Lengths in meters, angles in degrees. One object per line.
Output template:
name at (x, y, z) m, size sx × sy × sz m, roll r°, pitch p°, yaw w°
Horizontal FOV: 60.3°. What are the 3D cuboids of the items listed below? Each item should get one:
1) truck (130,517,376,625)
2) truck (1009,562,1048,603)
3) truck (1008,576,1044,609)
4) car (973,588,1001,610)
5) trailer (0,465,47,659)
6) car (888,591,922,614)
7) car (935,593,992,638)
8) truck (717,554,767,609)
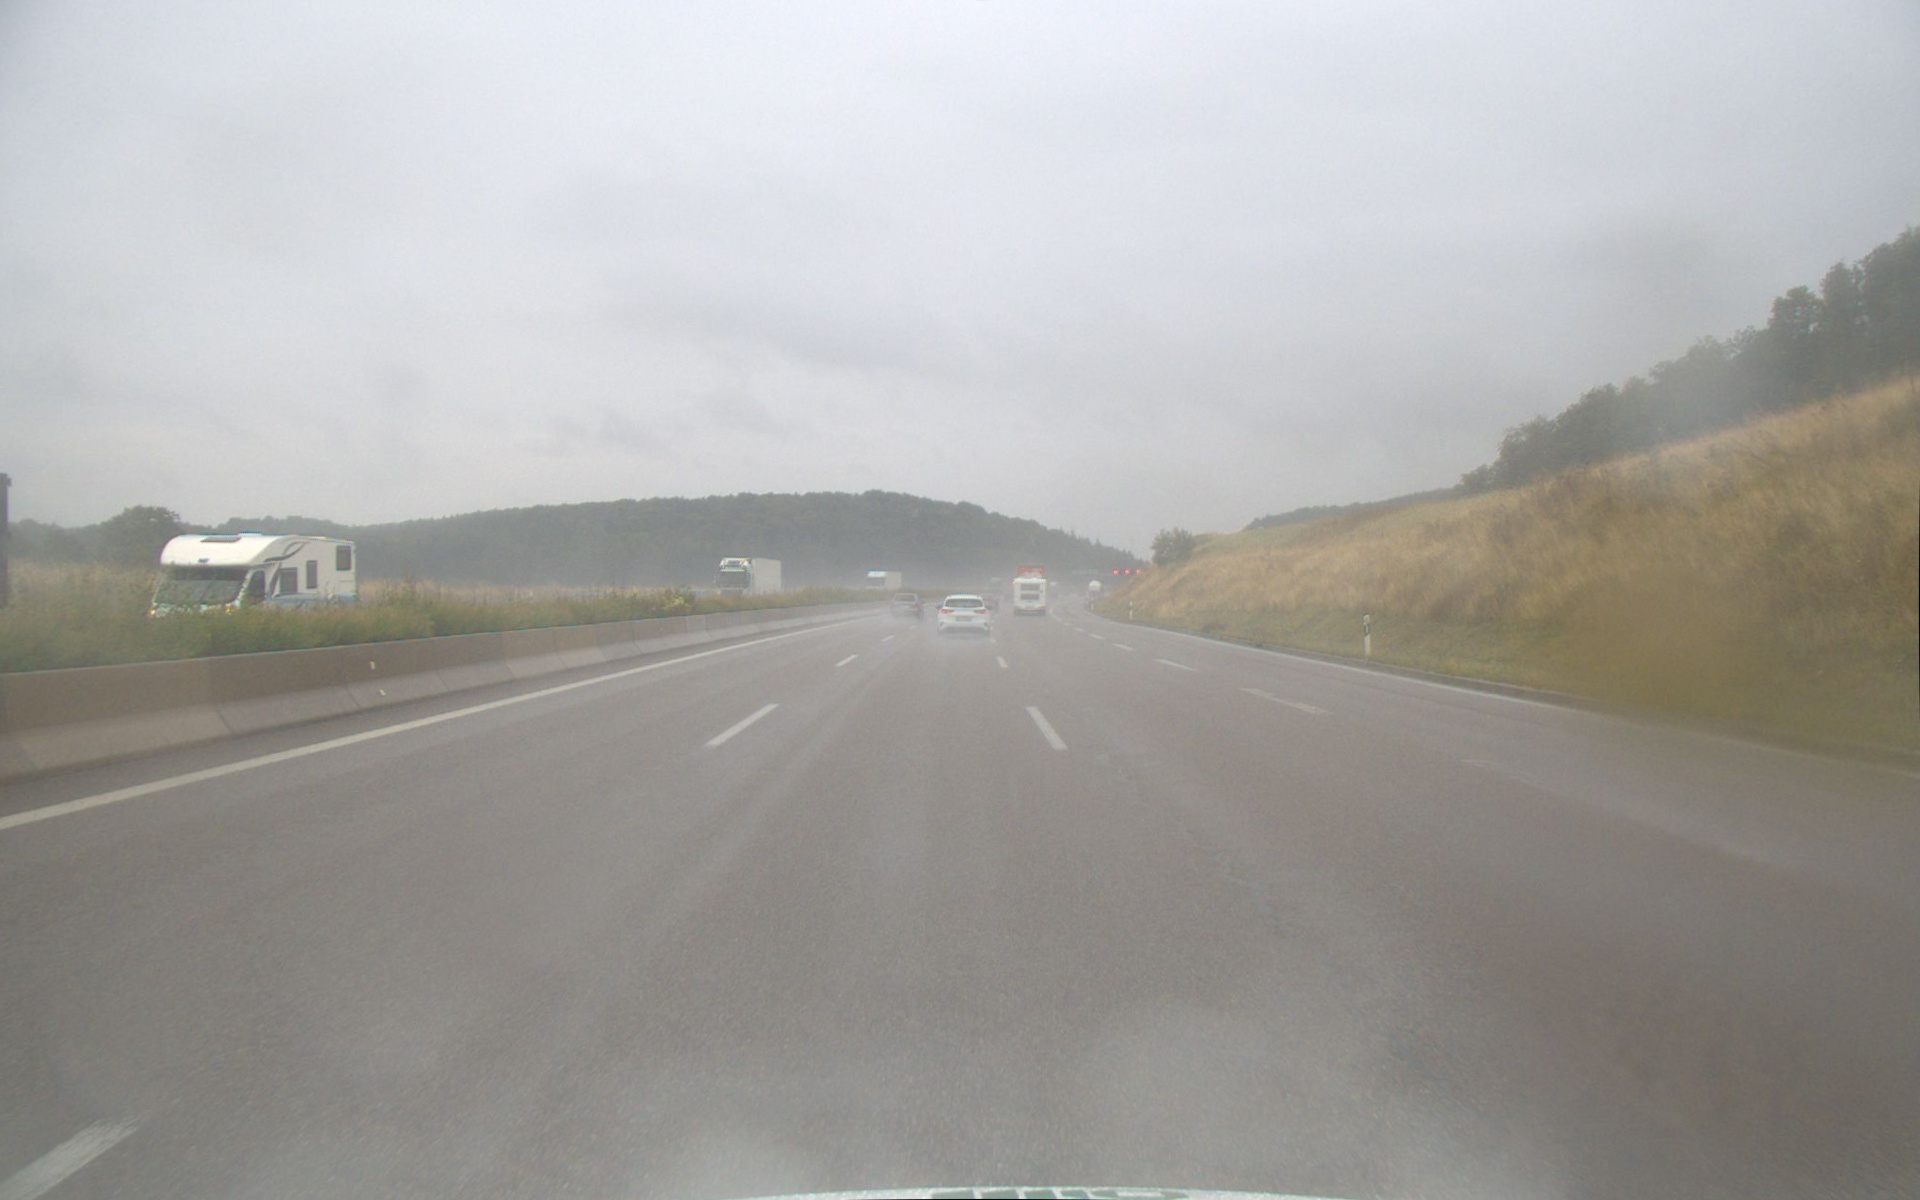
truck at (-15.851, -0.539, 37.747) m, size 2.424 × 2.193 × 7.424 m, roll 1°, pitch -1°, yaw 0°
truck at (6.709, -1.795, 163.337) m, size 3.455 × 3.808 × 11.427 m, roll 1°, pitch 1°, yaw 1°
truck at (4.540, -0.517, 114.676) m, size 2.358 × 2.291 × 4.693 m, roll 0°, pitch 0°, yaw 1°
car at (2.033, -0.063, 125.775) m, size 1.953 × 1.646 × 3.999 m, roll 0°, pitch 0°, yaw -1°
trailer at (-19.612, -0.800, 27.338) m, size 2.707 × 3.684 × 11.149 m, roll 0°, pitch -1°, yaw 1°
car at (-3.008, 0.132, 90.960) m, size 1.787 × 1.177 × 4.211 m, roll 1°, pitch -1°, yaw -1°
car at (0.086, 0.523, 56.919) m, size 1.830 × 1.488 × 3.999 m, roll 0°, pitch 0°, yaw -2°
truck at (-16.718, -1.393, 127.295) m, size 2.892 × 4.063 × 6.218 m, roll 0°, pitch 0°, yaw 1°
